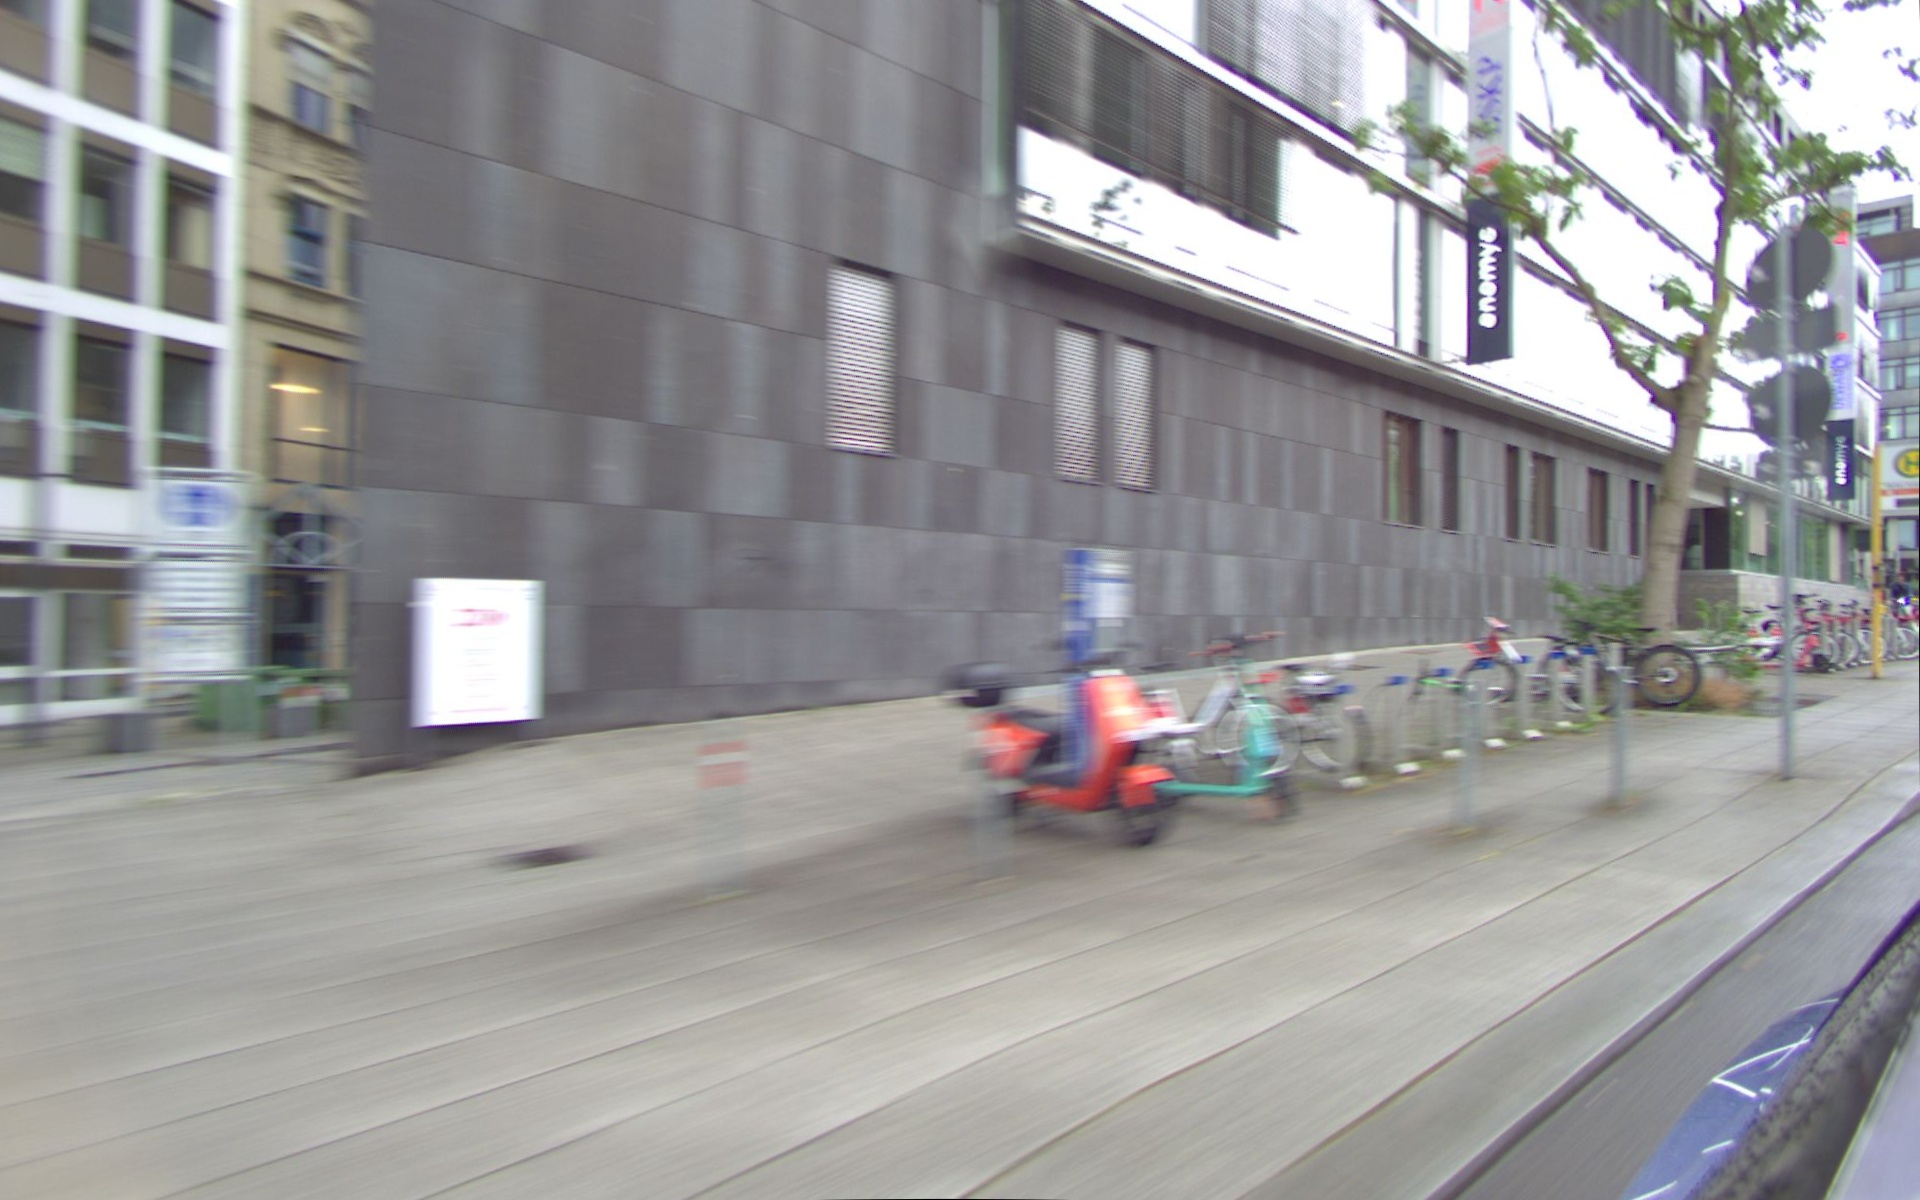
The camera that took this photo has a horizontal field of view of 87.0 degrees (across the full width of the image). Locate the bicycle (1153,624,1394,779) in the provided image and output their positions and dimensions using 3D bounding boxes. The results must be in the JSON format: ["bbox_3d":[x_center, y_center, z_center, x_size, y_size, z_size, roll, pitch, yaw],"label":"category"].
[{"bbox_3d":[2.562,0.789,8.431,0.659,1.121,1.795,-2,0,-43],"label":"bicycle"}]

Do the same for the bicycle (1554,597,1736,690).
[{"bbox_3d":[8.611,0.535,12.793,0.547,1.081,1.796,-2,0,-42],"label":"bicycle"}]

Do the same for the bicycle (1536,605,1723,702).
[{"bbox_3d":[8.163,0.637,12.408,0.547,1.081,1.796,-2,0,-42],"label":"bicycle"}]

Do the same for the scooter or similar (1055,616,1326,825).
[{"bbox_3d":[1.552,0.769,7.093,0.586,1.259,1.793,-2,0,-43],"label":"scooter or similar"}]

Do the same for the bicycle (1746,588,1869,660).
[{"bbox_3d":[14.404,0.395,17.220,0.678,1.154,1.535,-2,1,-44],"label":"bicycle"}]

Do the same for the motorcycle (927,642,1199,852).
[{"bbox_3d":[0.610,0.870,6.618,0.586,1.154,1.793,-2,0,-43],"label":"motorcycle"}]

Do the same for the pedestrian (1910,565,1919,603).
[{"bbox_3d":[46.471,-0.777,48.881,0.733,1.853,0.723,-1,2,-40],"label":"pedestrian"}]

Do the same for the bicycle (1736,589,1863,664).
[{"bbox_3d":[13.807,0.421,16.668,0.652,1.154,1.535,-2,1,-44],"label":"bicycle"}]

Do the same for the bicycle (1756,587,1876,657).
[{"bbox_3d":[14.960,0.365,17.705,0.678,1.154,1.535,-2,1,-44],"label":"bicycle"}]

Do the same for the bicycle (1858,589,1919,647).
[{"bbox_3d":[20.185,0.370,21.403,0.678,1.198,1.731,-1,1,-44],"label":"bicycle"}]

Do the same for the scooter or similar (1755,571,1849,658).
[{"bbox_3d":[12.846,0.214,15.456,0.298,1.273,1.061,-2,1,-44],"label":"scooter or similar"}]

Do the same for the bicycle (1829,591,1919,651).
[{"bbox_3d":[18.728,0.409,20.449,0.678,1.154,1.731,-1,1,-44],"label":"bicycle"}]

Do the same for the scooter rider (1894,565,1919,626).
[{"bbox_3d":[32.848,-0.161,34.863,0.906,2.046,0.780,0,0,-35],"label":"scooter rider"}]

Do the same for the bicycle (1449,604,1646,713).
[{"bbox_3d":[6.627,0.637,11.491,0.659,1.121,1.795,-2,0,-43],"label":"bicycle"}]

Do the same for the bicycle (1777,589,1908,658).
[{"bbox_3d":[15.662,0.402,17.990,0.678,1.154,1.707,-2,1,-44],"label":"bicycle"}]

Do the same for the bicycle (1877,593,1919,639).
[{"bbox_3d":[23.090,0.377,24.165,0.678,1.083,1.731,-1,1,-44],"label":"bicycle"}]

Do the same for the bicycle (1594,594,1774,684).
[{"bbox_3d":[9.391,0.496,13.186,0.547,1.081,1.796,-2,0,-42],"label":"bicycle"}]

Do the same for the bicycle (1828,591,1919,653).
[{"bbox_3d":[18.170,0.418,19.814,0.678,1.154,1.731,-1,1,-44],"label":"bicycle"}]

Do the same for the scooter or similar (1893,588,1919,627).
[{"bbox_3d":[32.855,0.239,34.870,1.309,1.322,0.780,-1,0,-35],"label":"scooter or similar"}]

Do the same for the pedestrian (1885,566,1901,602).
[{"bbox_3d":[45.826,-0.785,49.687,0.569,1.720,0.485,-1,1,-40],"label":"pedestrian"}]

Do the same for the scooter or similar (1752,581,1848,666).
[{"bbox_3d":[13.067,0.352,15.757,0.298,1.273,1.106,-2,1,-44],"label":"scooter or similar"}]

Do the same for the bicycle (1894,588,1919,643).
[{"bbox_3d":[21.833,0.346,22.350,0.678,1.198,1.731,-1,1,-44],"label":"bicycle"}]

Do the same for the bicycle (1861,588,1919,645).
[{"bbox_3d":[20.767,0.353,21.985,0.678,1.198,1.731,-1,1,-44],"label":"bicycle"}]

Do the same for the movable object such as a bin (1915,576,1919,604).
[{"bbox_3d":[45.780,-0.466,47.788,1.756,1.281,0.804,-1,2,-40],"label":"movable object such as a bin"}]

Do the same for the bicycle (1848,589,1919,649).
[{"bbox_3d":[19.438,0.383,20.813,0.678,1.198,1.731,-1,1,-44],"label":"bicycle"}]
